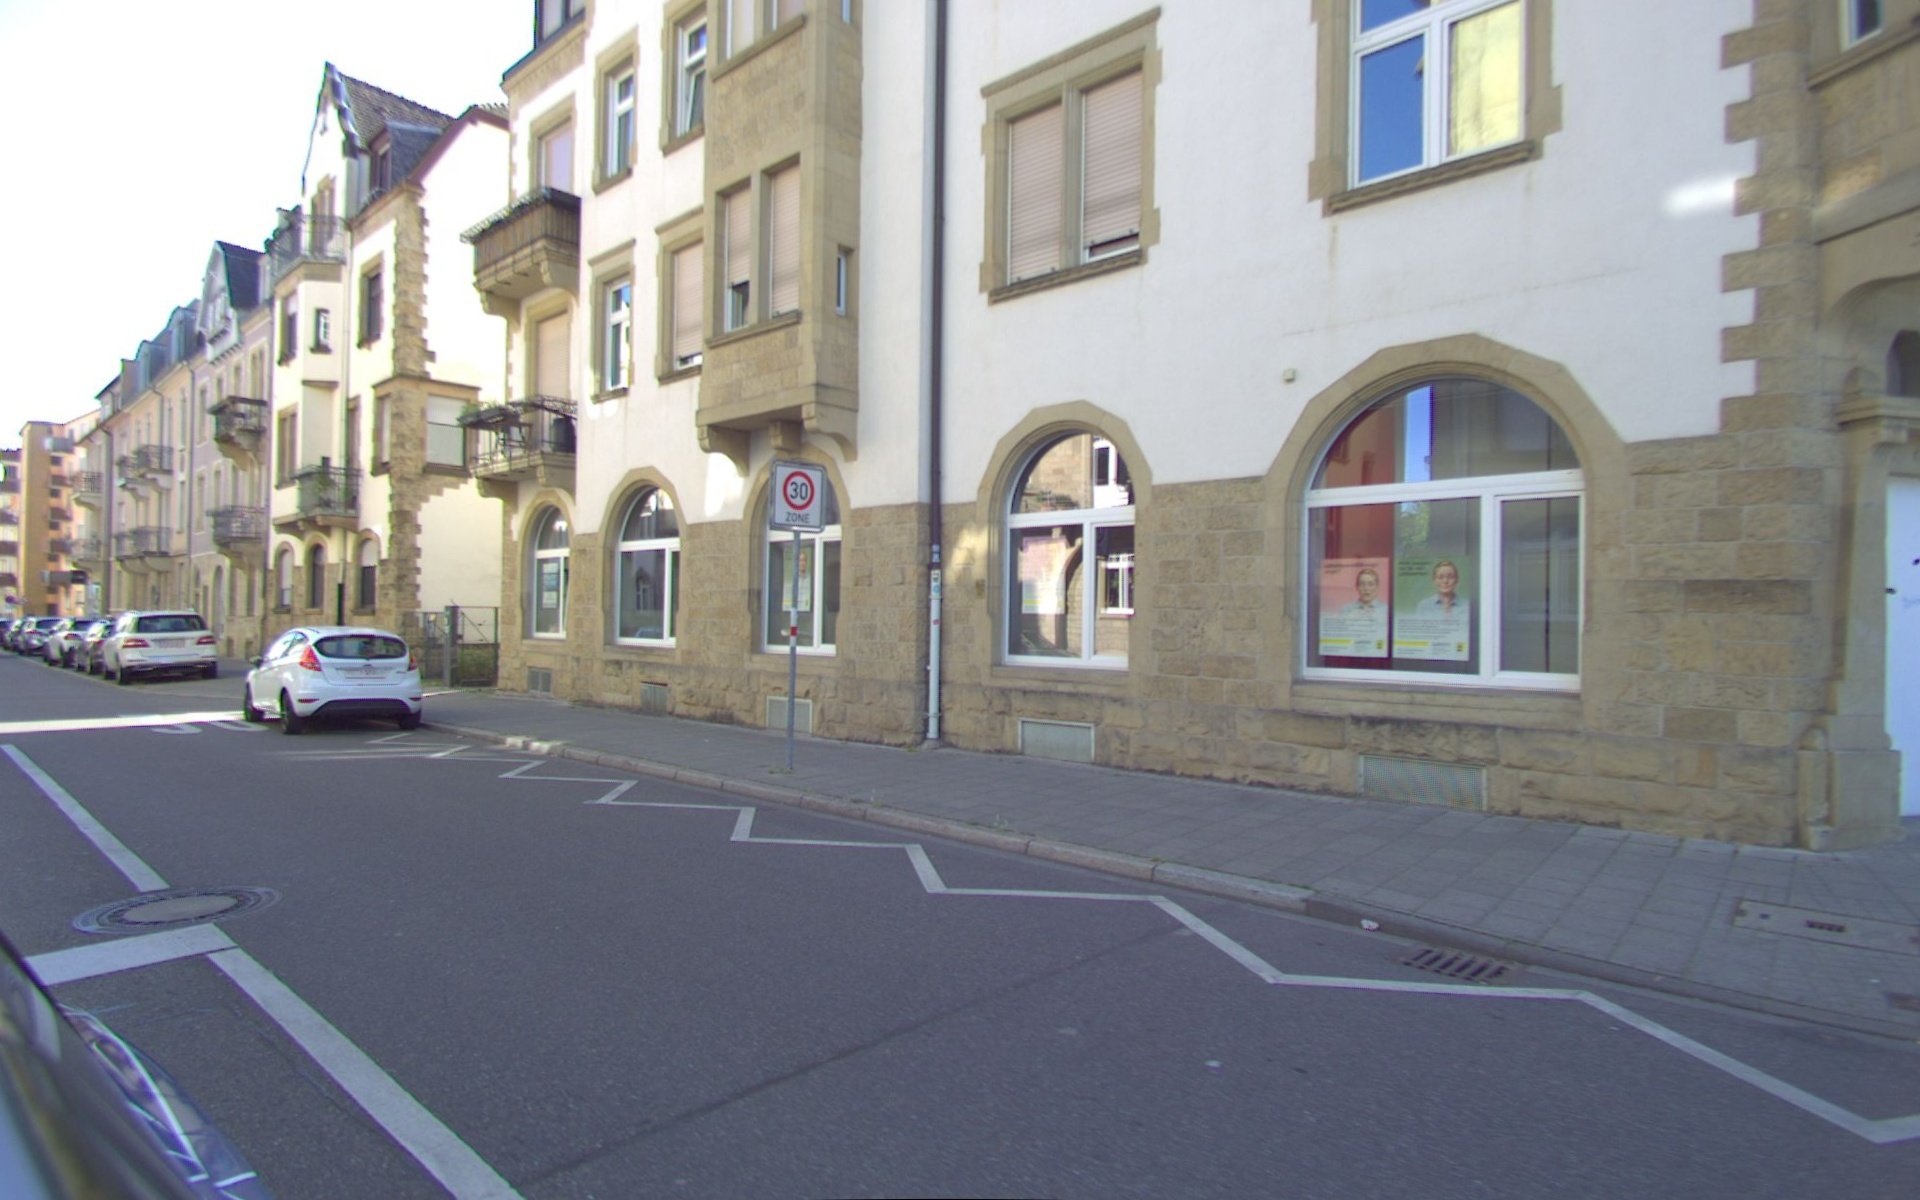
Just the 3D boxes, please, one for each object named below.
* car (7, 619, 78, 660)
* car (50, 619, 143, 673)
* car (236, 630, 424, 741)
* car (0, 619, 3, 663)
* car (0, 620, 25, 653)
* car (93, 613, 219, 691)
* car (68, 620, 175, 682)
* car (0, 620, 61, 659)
[{"bbox_3d":[-38.745,1.632,42.698,4.348,1.529,1.891,0,2,44],"label":"car"},{"bbox_3d":[-28.548,1.470,33.419,4.348,1.529,1.891,0,2,44],"label":"car"},{"bbox_3d":[-9.299,1.173,14.838,1.535,1.422,3.573,4,-4,-45],"label":"car"},{"bbox_3d":[-39.901,1.617,40.726,1.890,1.741,4.349,3,-3,-45],"label":"car"},{"bbox_3d":[-51.246,1.921,53.868,4.347,1.636,1.892,-1,2,44],"label":"car"},{"bbox_3d":[-20.121,1.213,25.259,4.348,1.671,1.891,0,2,44],"label":"car"},{"bbox_3d":[-24.351,1.406,29.329,4.348,1.529,1.891,0,2,44],"label":"car"},{"bbox_3d":[-43.377,1.793,47.157,4.348,1.636,1.891,0,2,44],"label":"car"}]
